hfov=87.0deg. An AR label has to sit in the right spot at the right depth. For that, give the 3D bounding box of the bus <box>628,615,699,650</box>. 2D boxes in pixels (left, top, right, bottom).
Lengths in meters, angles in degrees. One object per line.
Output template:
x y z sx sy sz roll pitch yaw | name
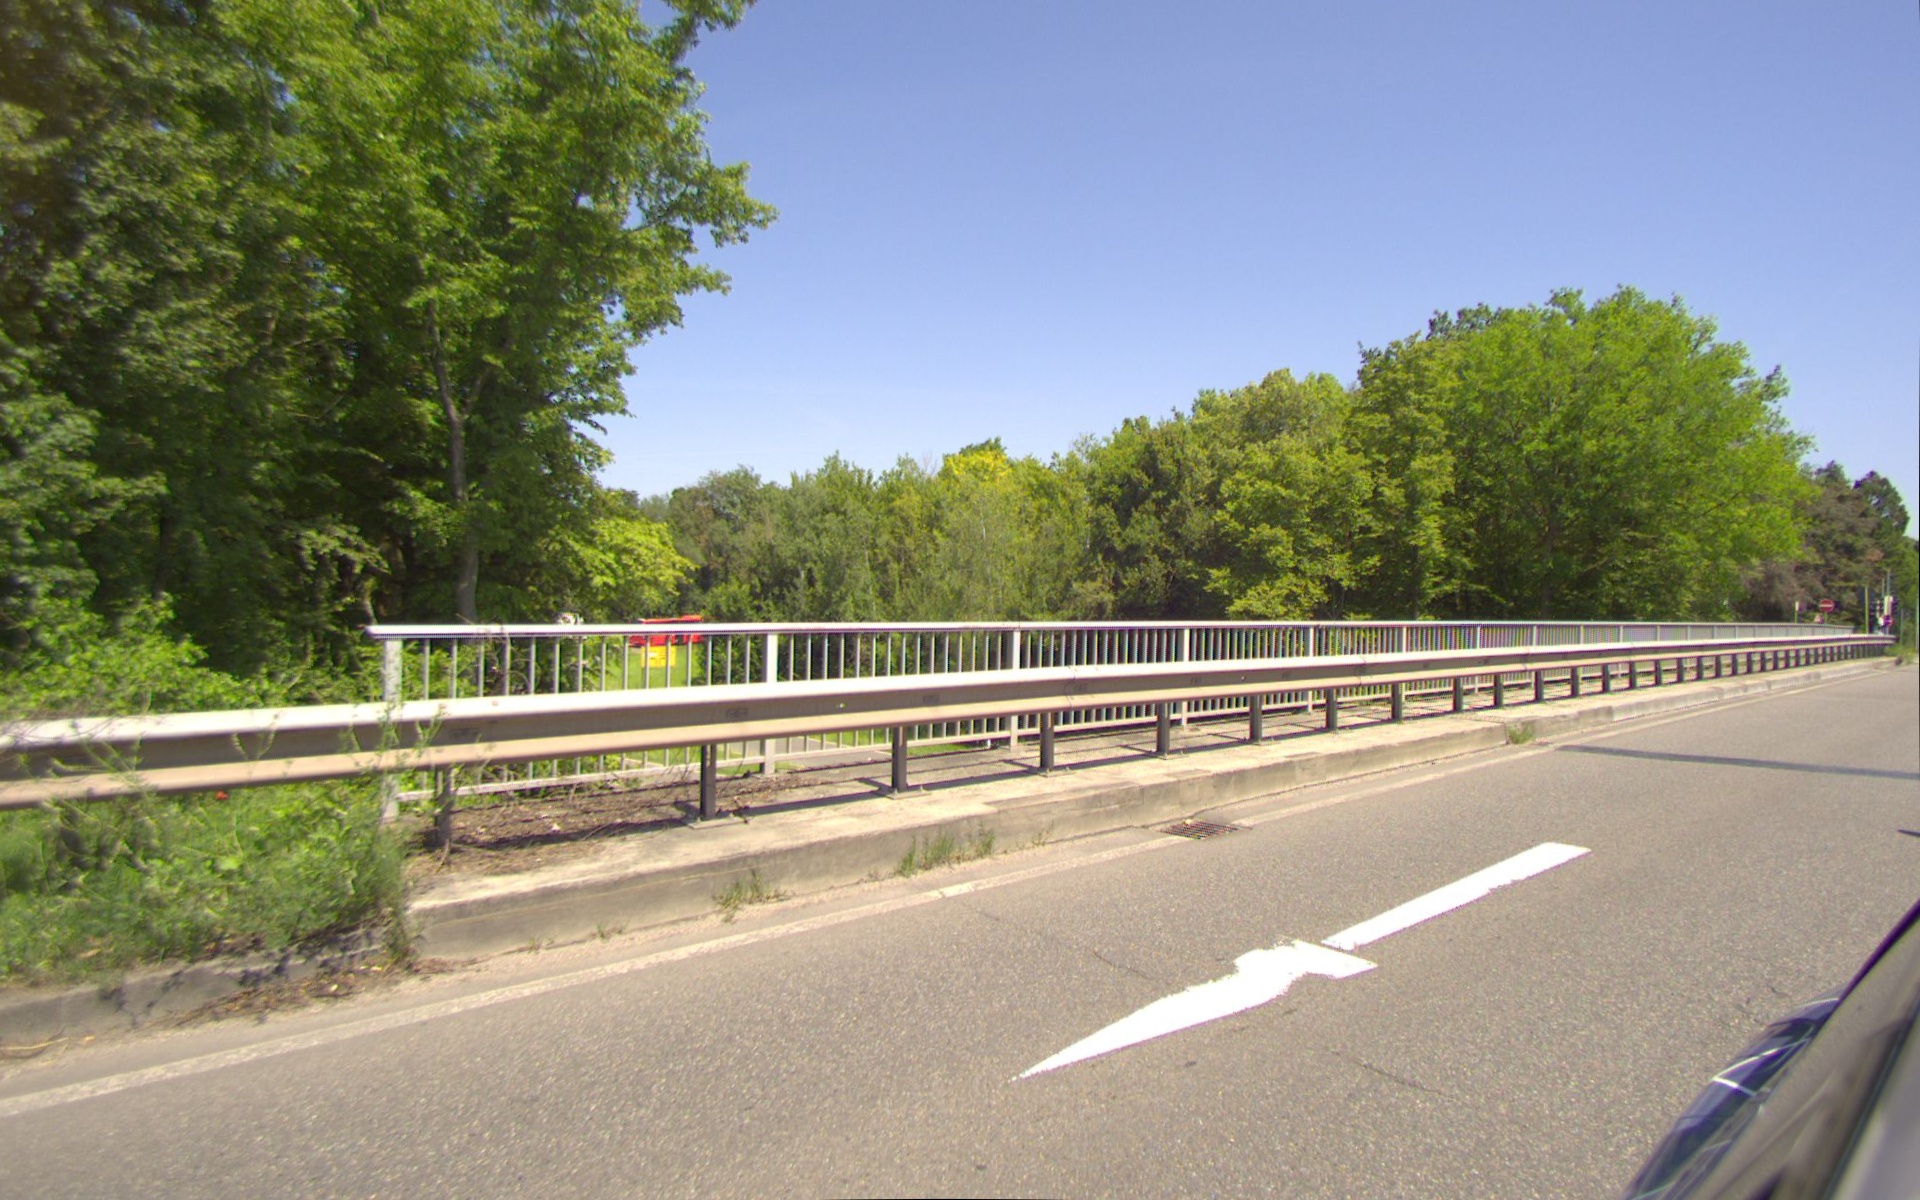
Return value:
-32.078 3.477 109.724 2.262 3.251 8.002 -1 1 30 | bus

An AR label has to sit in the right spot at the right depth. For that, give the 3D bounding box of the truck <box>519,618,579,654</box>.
-38.388 3.340 94.692 2.089 3.121 4.897 2 1 32 | truck
